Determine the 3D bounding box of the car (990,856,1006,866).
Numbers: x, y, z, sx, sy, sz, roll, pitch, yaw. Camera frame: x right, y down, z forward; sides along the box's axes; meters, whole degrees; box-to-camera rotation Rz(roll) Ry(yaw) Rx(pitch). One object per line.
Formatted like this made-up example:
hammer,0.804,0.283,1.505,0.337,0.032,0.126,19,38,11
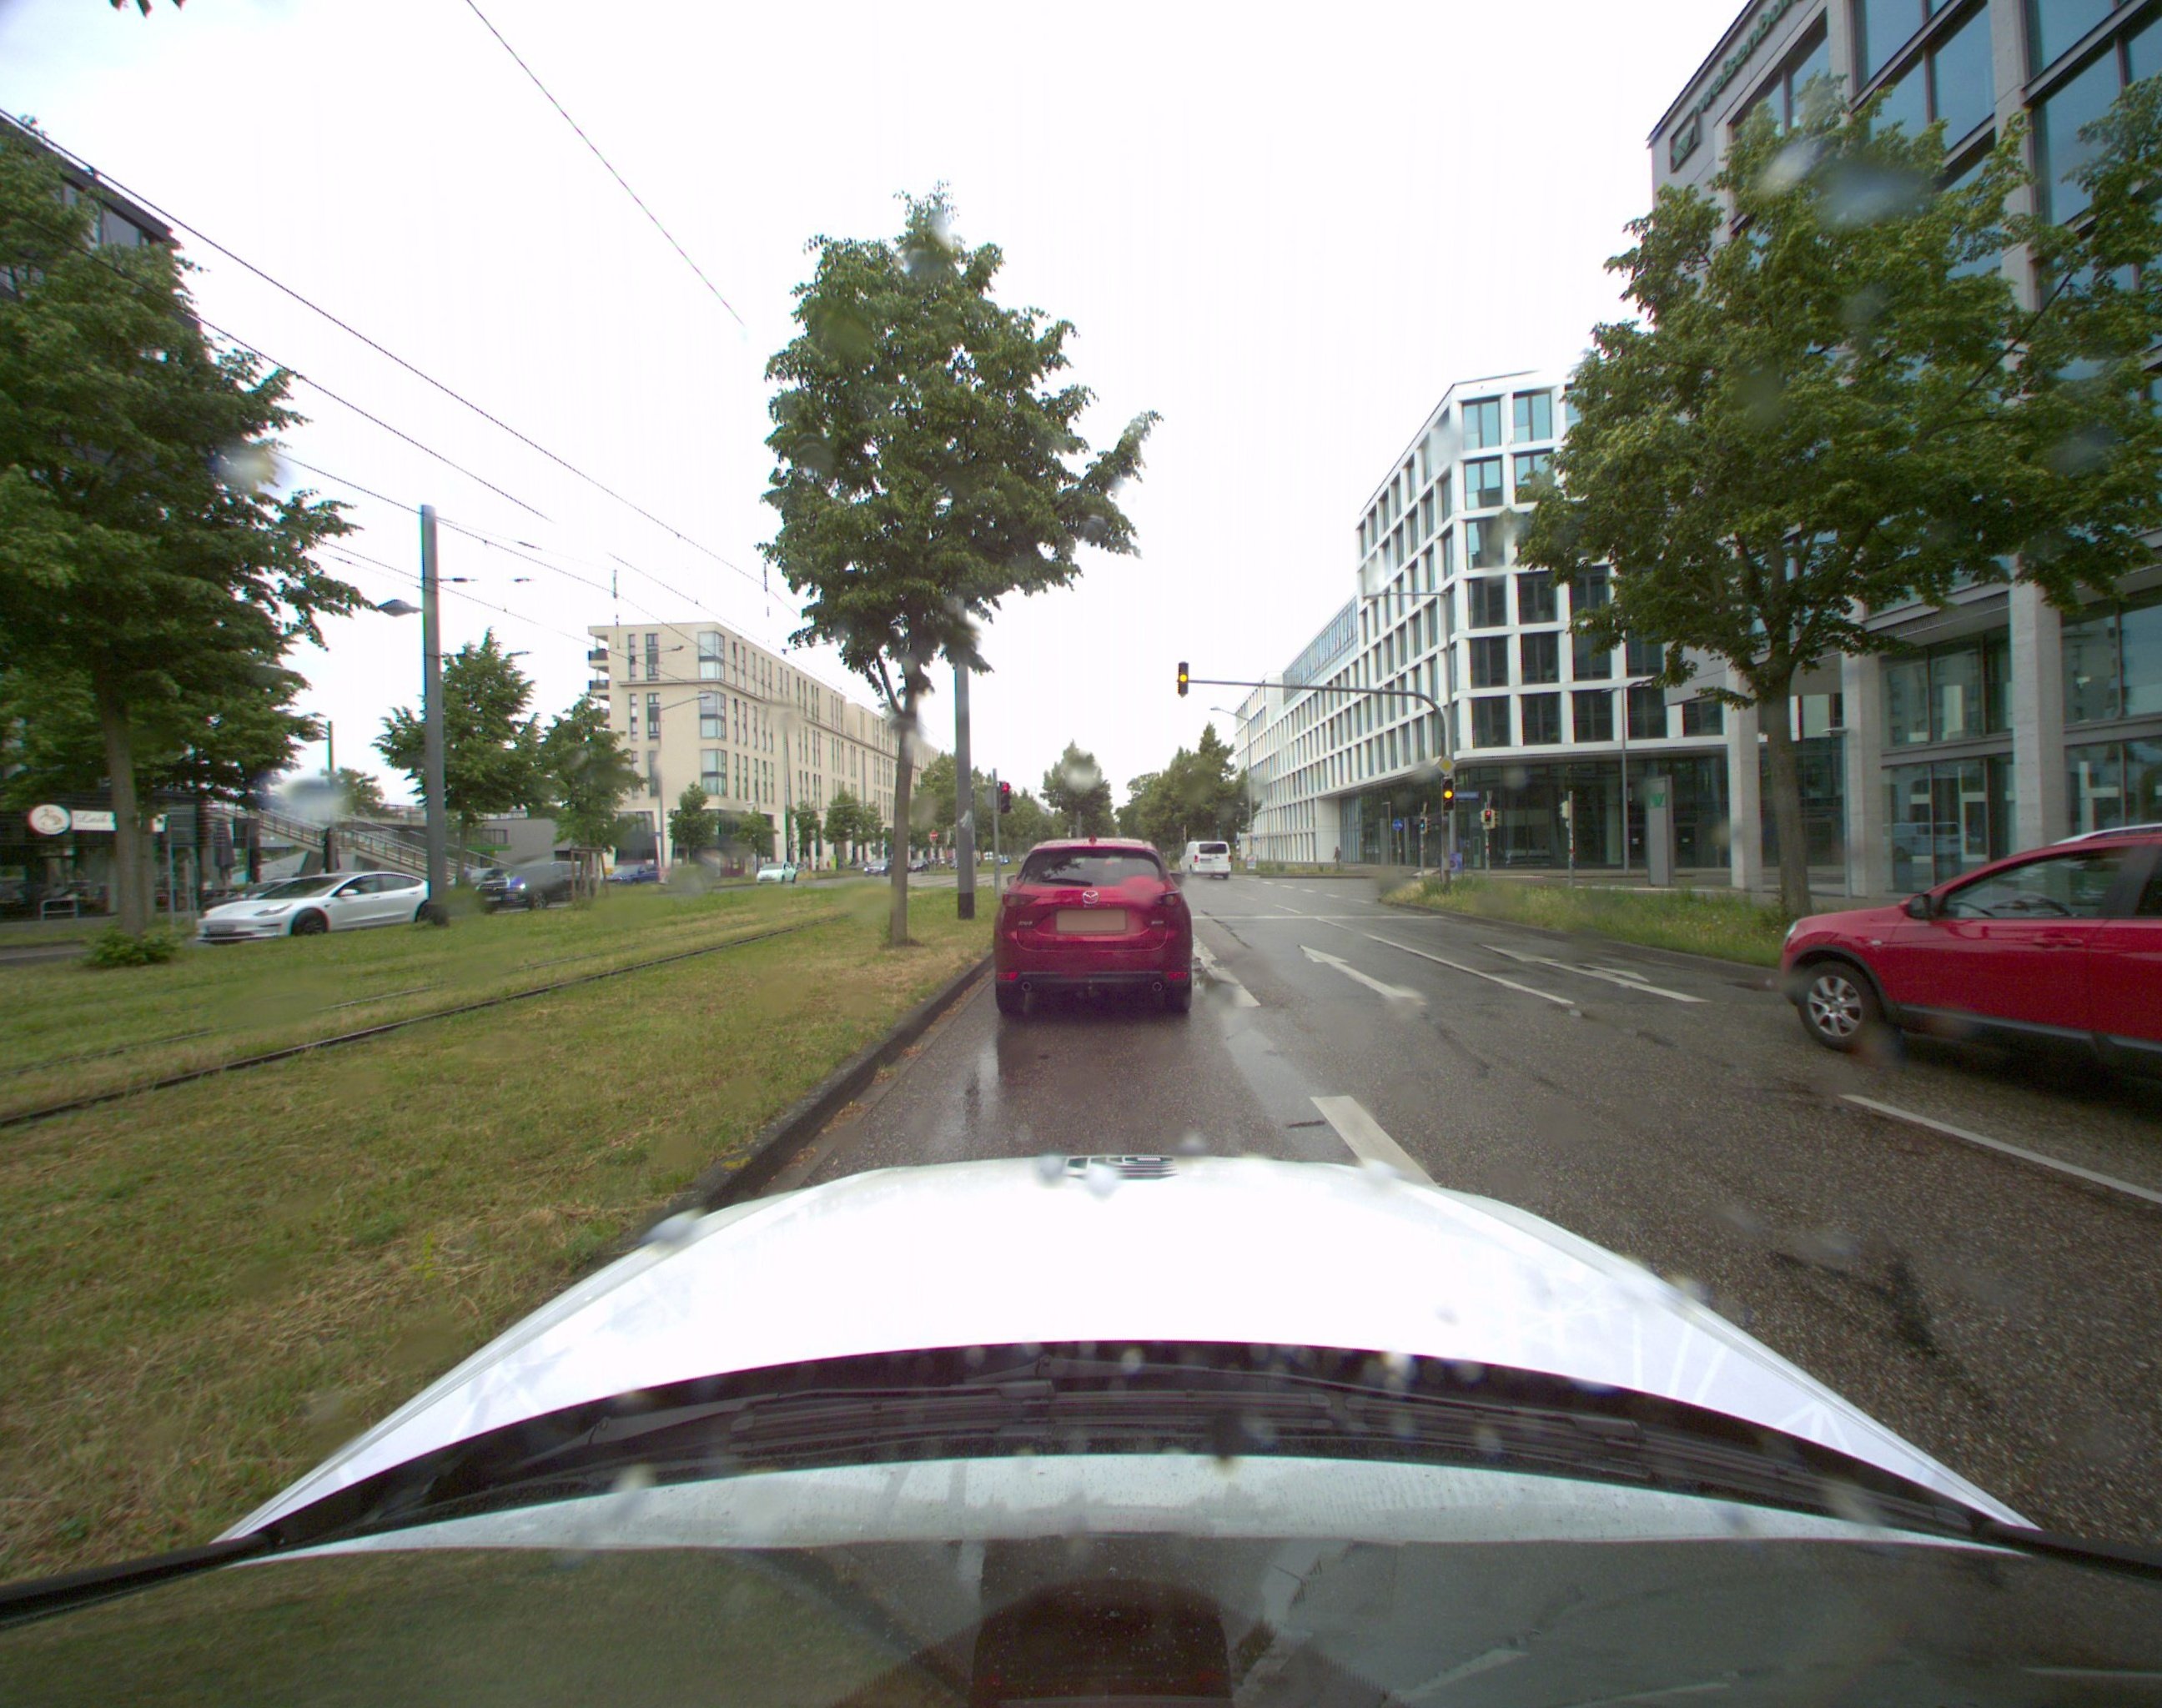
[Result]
car,-12.557,1.063,123.527,1.987,1.484,4.446,-1,0,1

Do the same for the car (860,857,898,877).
car,-16.750,1.062,67.818,1.987,1.484,4.446,-1,0,1

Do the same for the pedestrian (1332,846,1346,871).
pedestrian,18.273,0.317,57.707,0.678,1.707,0.781,-1,0,-12

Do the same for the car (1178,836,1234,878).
car,6.296,0.172,41.656,1.962,1.979,5.088,-1,0,-1

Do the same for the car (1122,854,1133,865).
car,8.550,1.005,149.854,1.986,2.013,4.002,-1,0,2

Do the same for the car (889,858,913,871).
car,-21.707,1.260,98.239,1.988,1.484,4.444,-1,0,-1

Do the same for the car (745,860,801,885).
car,-19.924,1.151,52.917,1.987,1.484,4.444,-1,0,0

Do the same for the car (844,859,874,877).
car,-24.455,1.503,89.817,1.986,1.838,4.002,-1,0,2

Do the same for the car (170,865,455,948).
car,-16.629,1.054,18.040,1.986,1.484,4.447,-1,0,2

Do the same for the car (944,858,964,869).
car,-17.833,1.273,114.194,1.987,1.484,4.446,-1,0,1

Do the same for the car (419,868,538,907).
car,-26.417,1.418,35.925,1.988,1.484,4.442,-1,0,-2

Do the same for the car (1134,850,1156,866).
car,6.289,0.386,80.688,1.739,1.465,3.778,-1,0,-2

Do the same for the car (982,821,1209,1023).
car,0.187,0.565,8.858,1.891,1.677,4.002,-1,0,2

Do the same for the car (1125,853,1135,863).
car,10.350,0.905,173.293,1.986,2.013,4.002,-1,0,2

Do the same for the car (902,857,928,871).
car,-18.970,1.133,93.198,1.986,1.484,4.447,-1,0,1

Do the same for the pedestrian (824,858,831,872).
pedestrian,-32.837,1.424,105.586,0.632,1.717,0.743,-1,0,5

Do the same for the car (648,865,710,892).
car,-26.716,1.595,54.316,1.988,1.598,4.442,-1,0,-2

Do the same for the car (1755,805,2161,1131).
car,6.281,0.567,4.499,1.787,1.612,4.249,0,0,3

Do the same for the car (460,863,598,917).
car,-18.908,1.191,28.145,1.987,1.618,4.000,-1,0,1

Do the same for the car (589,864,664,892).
car,-26.522,1.356,47.742,1.988,1.484,4.442,-1,0,-2
